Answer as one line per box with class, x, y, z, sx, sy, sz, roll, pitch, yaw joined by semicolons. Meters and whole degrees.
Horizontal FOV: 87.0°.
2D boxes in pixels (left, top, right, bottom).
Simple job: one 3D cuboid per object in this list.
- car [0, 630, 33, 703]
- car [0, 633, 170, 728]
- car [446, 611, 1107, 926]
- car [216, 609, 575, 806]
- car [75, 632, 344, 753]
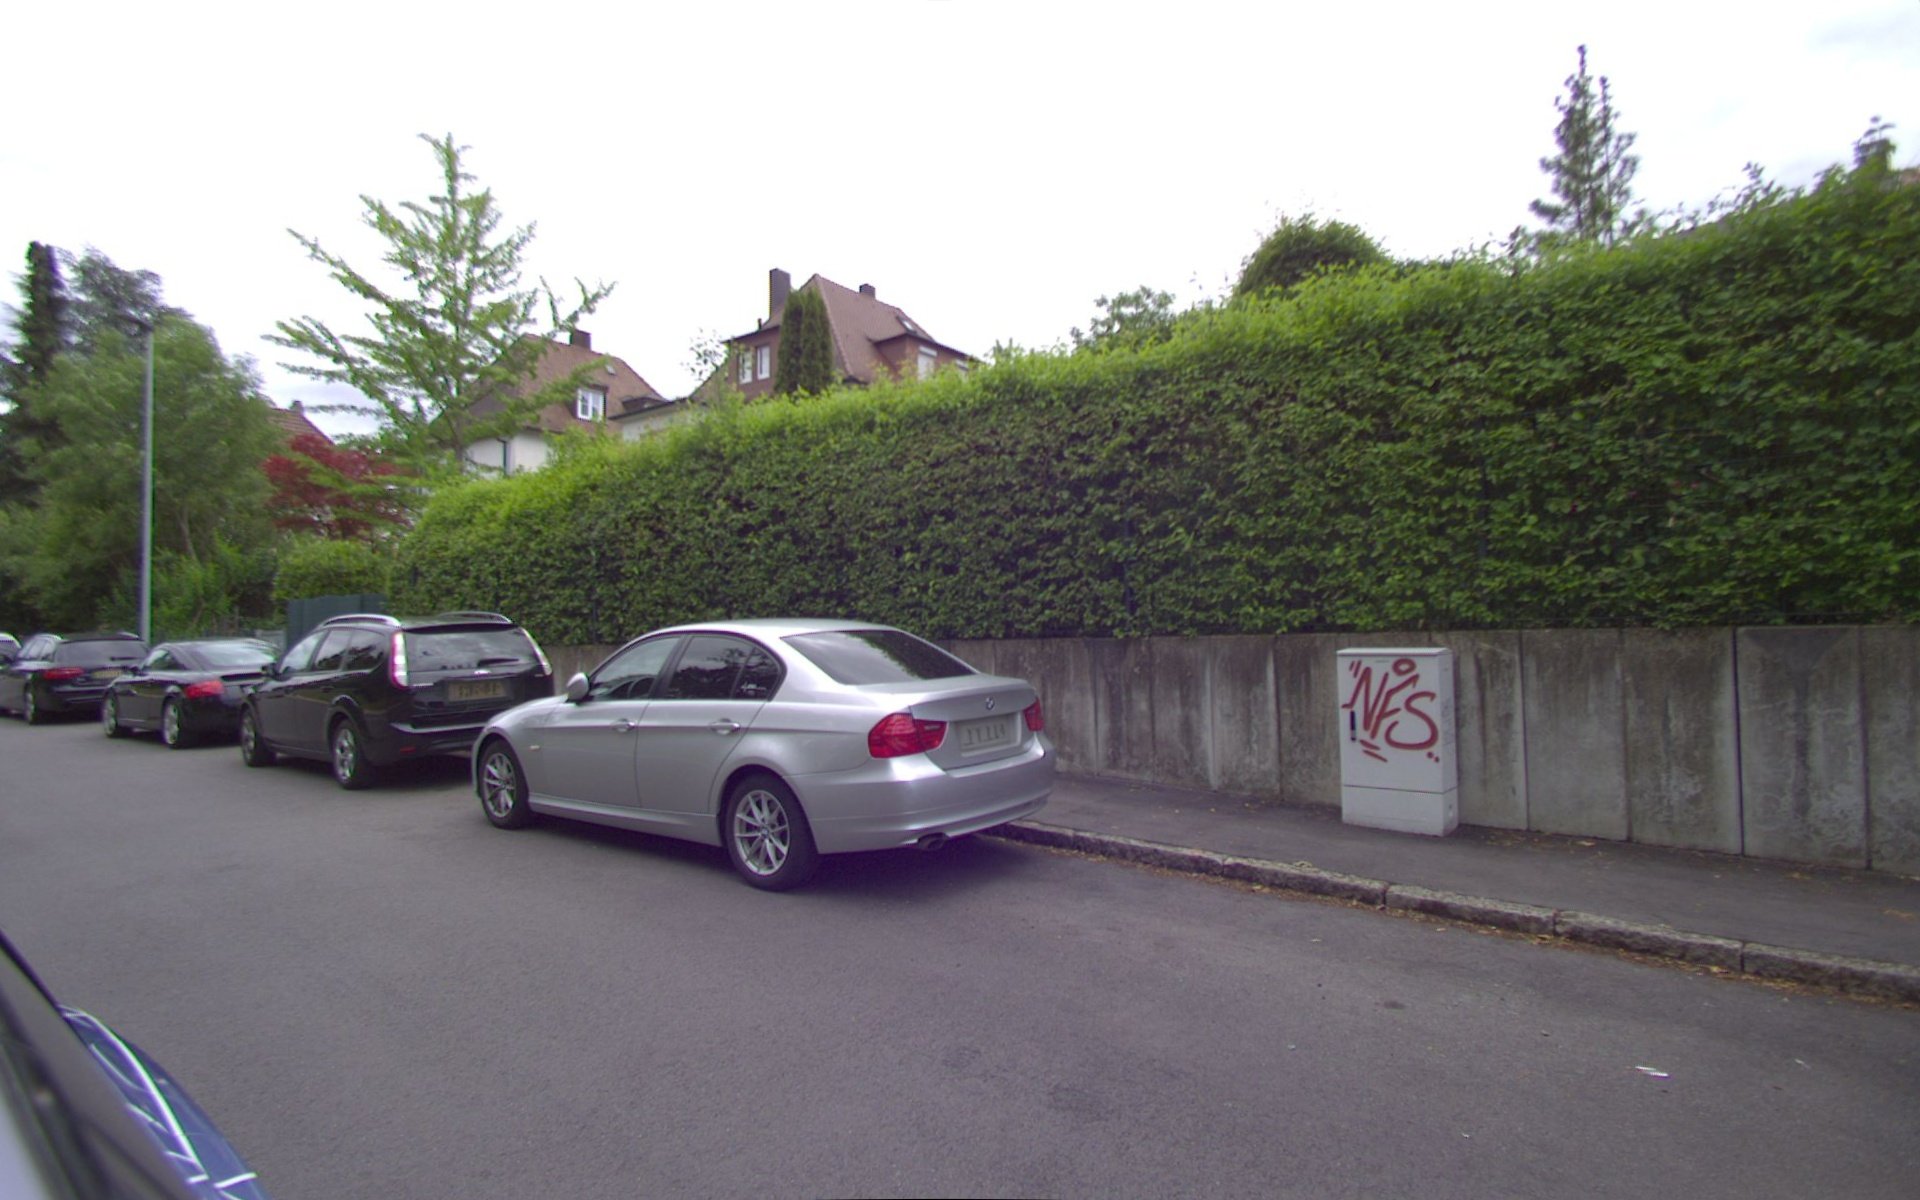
car;-21.655;1.431;21.872;3.580;1.526;1.575;-2;-1;34
car;-15.233;1.281;17.202;4.654;1.395;1.703;-2;-1;37
car;-1.394;0.812;6.554;4.334;1.384;1.758;-2;-1;38
car;-5.795;0.913;10.131;4.470;1.545;1.640;-2;-1;40
car;-10.162;1.146;13.619;4.097;1.351;1.697;-2;-1;35
